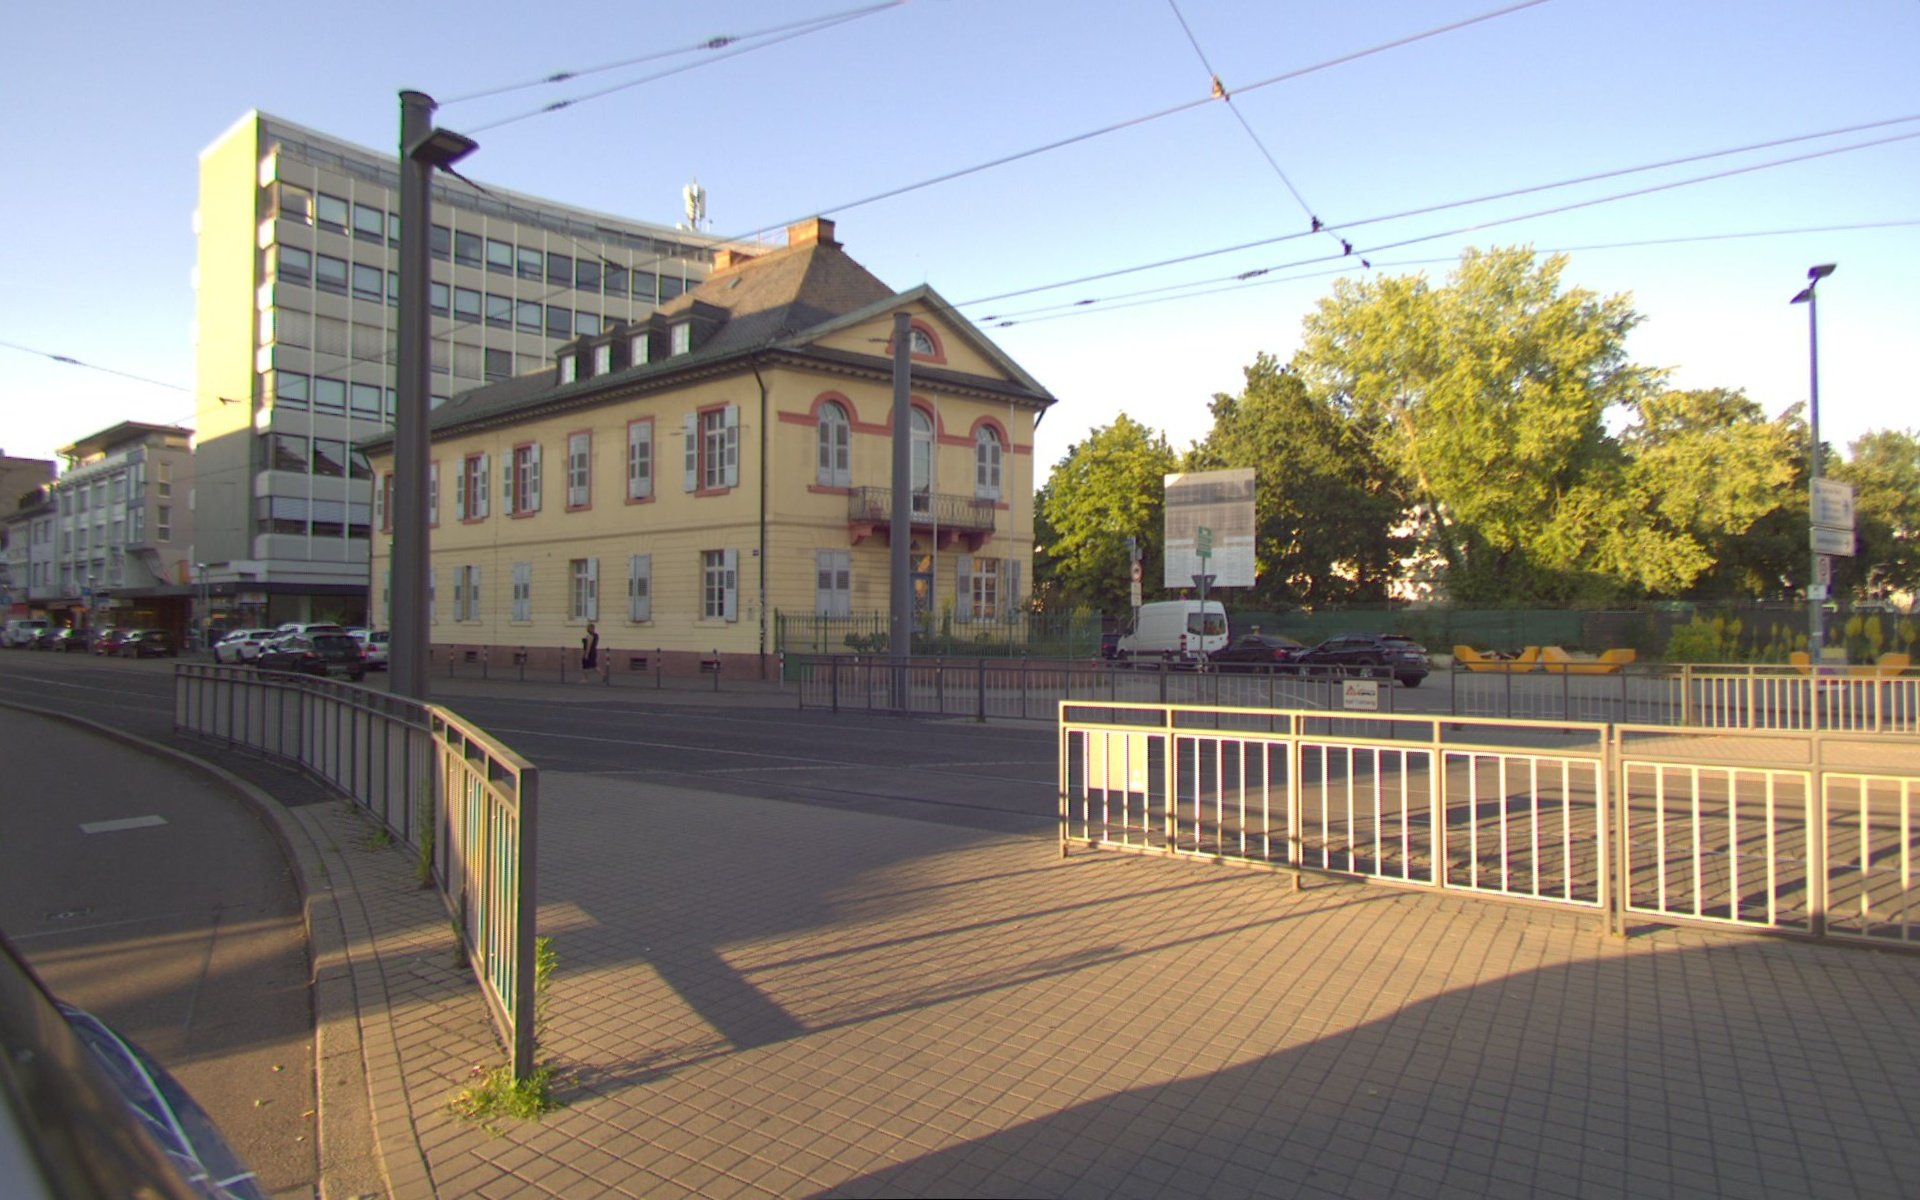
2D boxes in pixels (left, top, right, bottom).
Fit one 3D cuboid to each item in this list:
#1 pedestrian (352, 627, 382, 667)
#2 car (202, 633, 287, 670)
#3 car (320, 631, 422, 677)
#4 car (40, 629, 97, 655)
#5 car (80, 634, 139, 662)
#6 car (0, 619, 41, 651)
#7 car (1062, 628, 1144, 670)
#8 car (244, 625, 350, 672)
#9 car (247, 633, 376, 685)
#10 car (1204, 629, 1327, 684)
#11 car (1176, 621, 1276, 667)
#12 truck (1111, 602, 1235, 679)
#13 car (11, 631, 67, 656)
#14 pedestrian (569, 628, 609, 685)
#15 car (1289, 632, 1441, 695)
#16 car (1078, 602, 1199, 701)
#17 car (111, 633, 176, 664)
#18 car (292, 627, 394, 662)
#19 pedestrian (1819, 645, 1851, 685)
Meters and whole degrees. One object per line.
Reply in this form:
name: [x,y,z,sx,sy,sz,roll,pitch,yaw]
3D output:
pedestrian: [-23.751,1.886,40.553,0.876,1.553,0.792,-1,0,39]
car: [-30.465,2.161,43.050,4.275,1.464,1.705,-1,-1,37]
car: [-21.044,1.899,36.088,3.993,1.485,1.732,-2,-1,37]
car: [-53.128,2.484,60.295,4.085,1.472,1.773,-1,-3,38]
car: [-45.668,2.542,54.331,3.586,1.445,1.676,-1,-2,37]
car: [-64.442,2.343,68.803,5.090,2.029,1.946,-1,0,36]
car: [6.148,2.085,44.019,1.966,1.589,4.012,-1,0,-17]
car: [-25.795,1.854,39.325,4.750,1.673,1.870,-1,-1,35]
car: [-19.106,1.676,29.762,4.213,1.387,1.751,-1,-2,36]
car: [10.054,1.810,33.621,1.966,1.589,4.012,-1,0,-17]
car: [12.119,1.967,46.157,3.988,2.029,1.977,-1,-2,33]
truck: [8.043,1.446,38.907,2.159,2.719,5.483,-1,0,-19]
car: [-58.537,2.759,64.297,4.563,1.437,1.855,-1,0,37]
pedestrian: [-10.147,1.538,27.704,0.717,1.548,0.713,-1,-2,33]
car: [11.554,1.755,29.188,1.966,1.558,4.012,-1,0,-17]
car: [4.107,1.120,22.800,1.986,2.029,3.972,-1,-2,21]
car: [-41.482,2.426,51.373,3.958,1.436,1.676,-2,0,37]
car: [-30.899,2.218,50.766,1.910,1.565,3.953,-1,0,35]
pedestrian: [28.130,2.078,32.546,0.703,1.220,0.717,-1,0,36]
